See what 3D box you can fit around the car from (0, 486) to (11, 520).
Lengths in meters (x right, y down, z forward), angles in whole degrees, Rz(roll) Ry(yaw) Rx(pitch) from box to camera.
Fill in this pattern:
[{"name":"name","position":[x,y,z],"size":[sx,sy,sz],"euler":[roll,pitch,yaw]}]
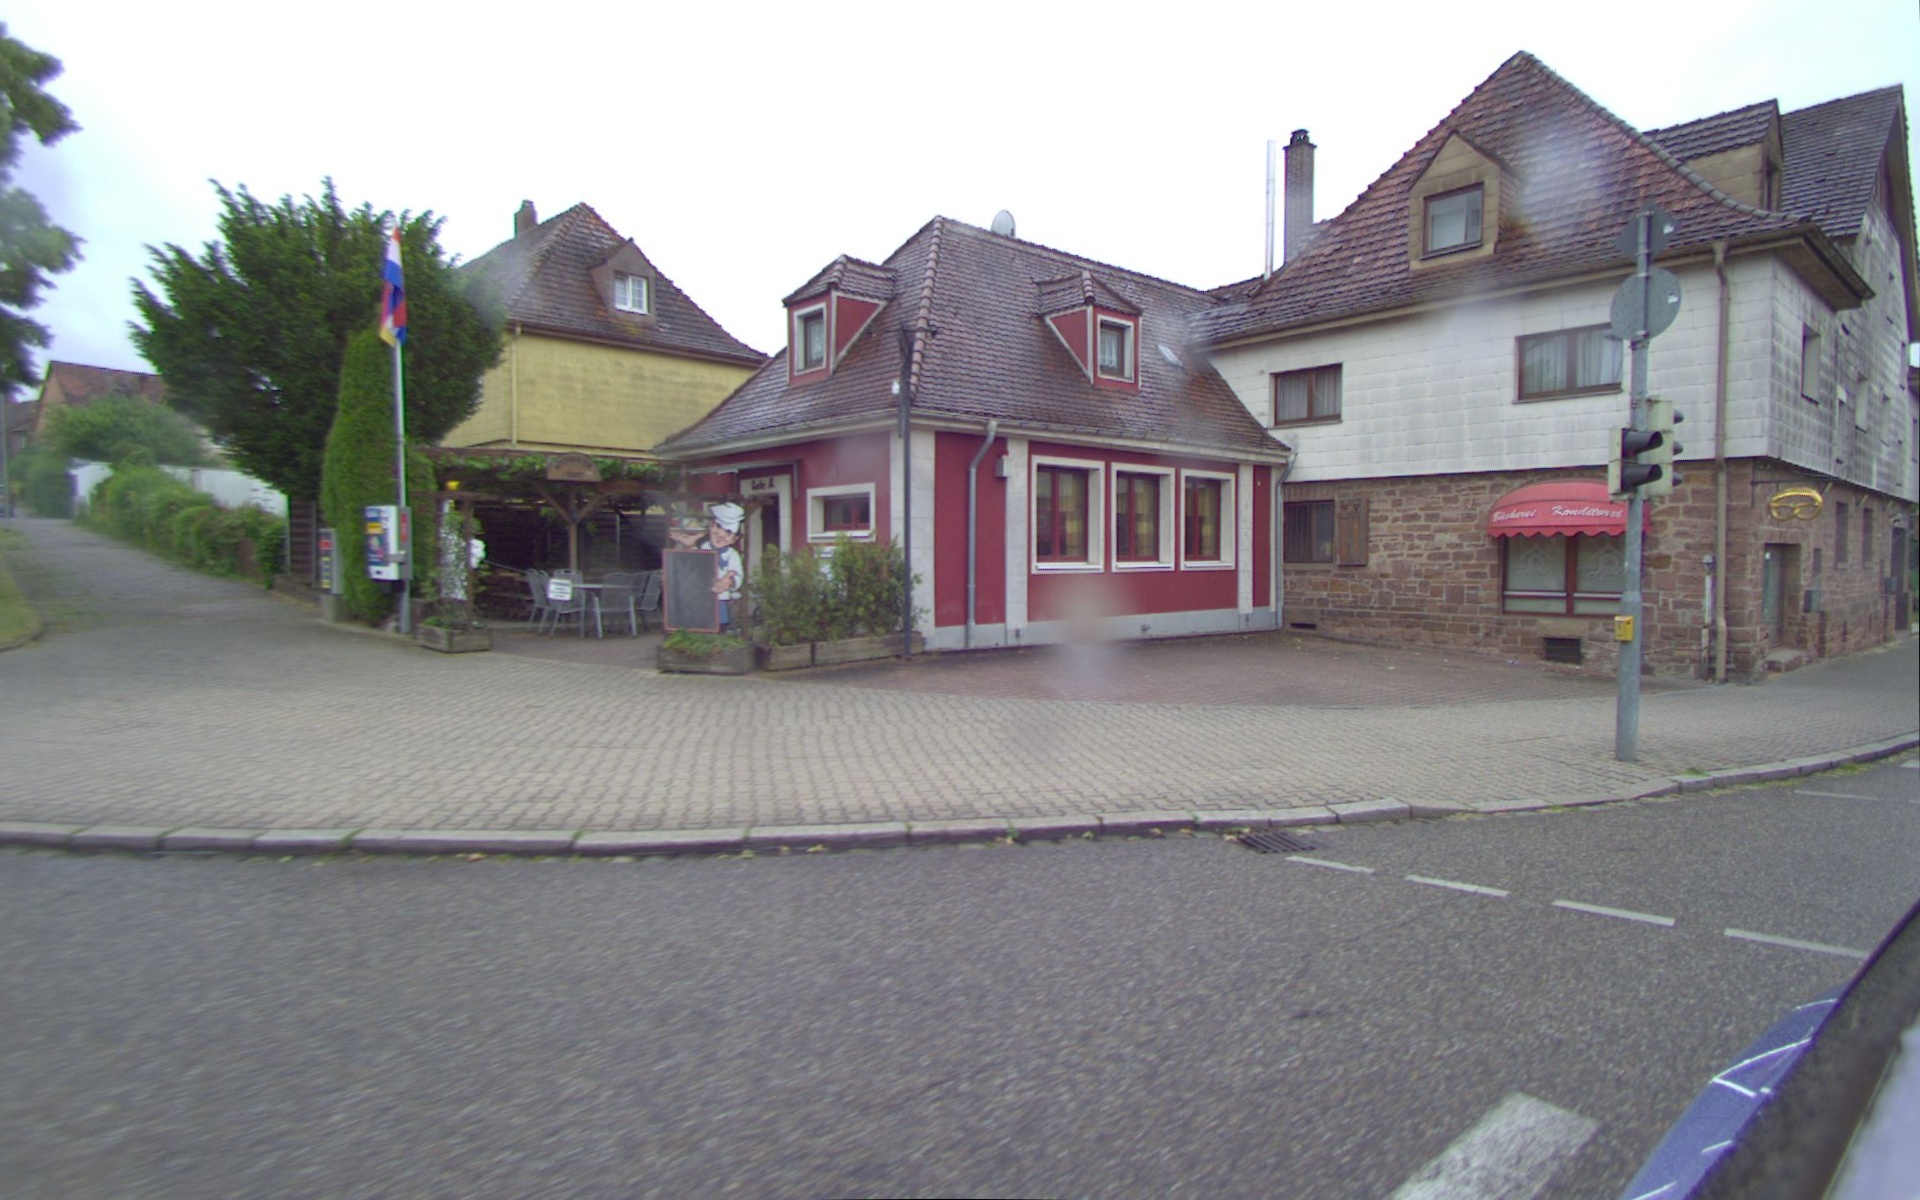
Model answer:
[{"name":"car","position":[-49.517,-4.957,51.445],"size":[1.813,1.618,3.802],"euler":[0,3,-44]}]
